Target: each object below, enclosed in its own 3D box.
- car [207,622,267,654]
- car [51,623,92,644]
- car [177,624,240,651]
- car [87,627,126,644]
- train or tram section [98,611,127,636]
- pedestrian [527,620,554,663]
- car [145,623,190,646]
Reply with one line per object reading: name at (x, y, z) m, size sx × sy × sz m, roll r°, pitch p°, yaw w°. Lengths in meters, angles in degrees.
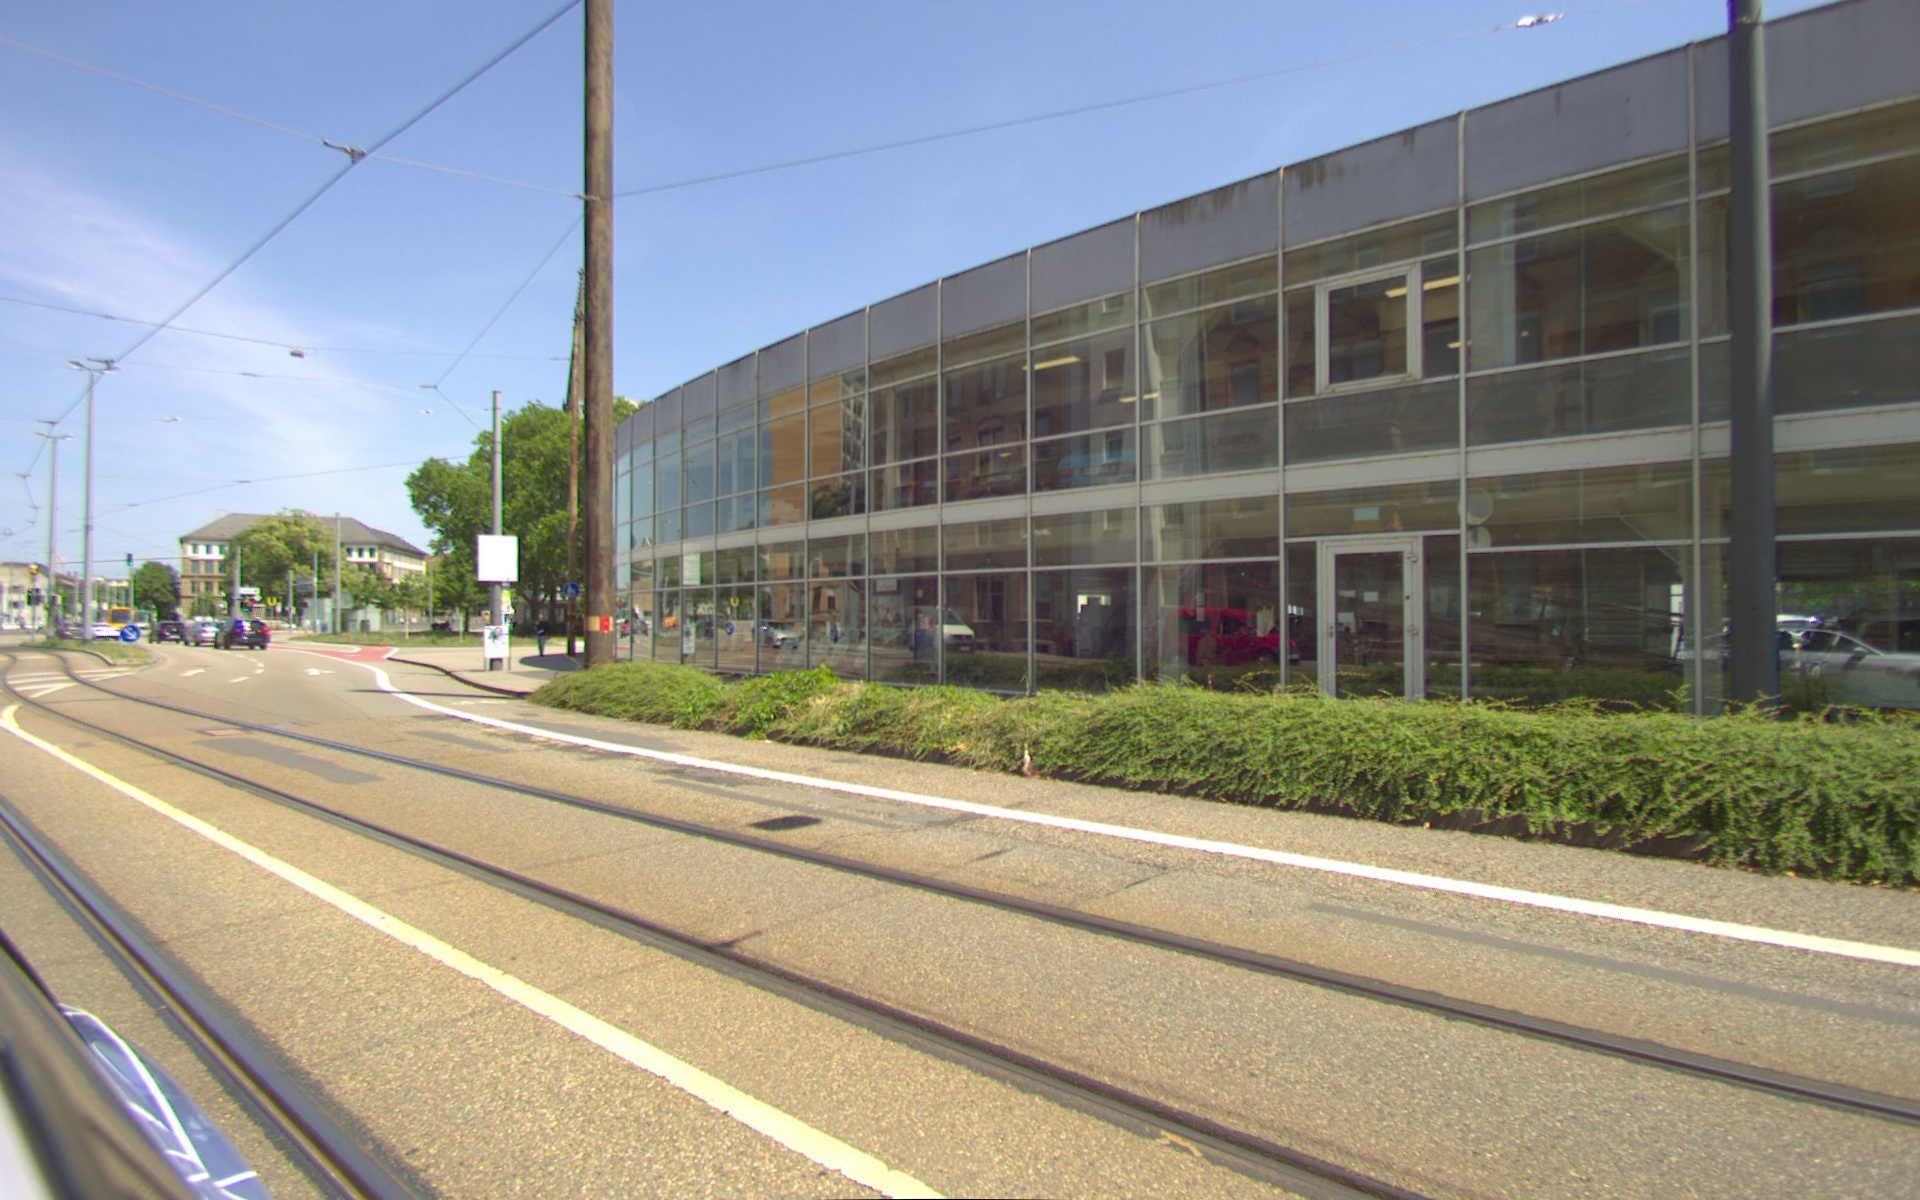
car at (-38.617, 2.017, 53.992) m, size 4.527 × 1.639 × 1.801 m, roll -1°, pitch -3°, yaw 44°
car at (-65.179, 2.486, 74.233) m, size 4.329 × 1.491 × 1.823 m, roll -2°, pitch -3°, yaw 43°
car at (-45.149, 2.259, 60.751) m, size 5.129 × 1.542 × 1.972 m, roll -1°, pitch -3°, yaw 42°
car at (-67.712, 2.798, 80.260) m, size 4.201 × 1.309 × 1.689 m, roll -1°, pitch -3°, yaw 41°
train or tram section at (-110.904, 3.096, 132.505) m, size 2.799 × 3.238 × 9.126 m, roll 1°, pitch -2°, yaw -39°
pedestrian at (-16.606, 1.642, 40.066) m, size 0.820 × 1.654 × 0.719 m, roll -2°, pitch -2°, yaw 45°
car at (-52.647, 2.272, 67.226) m, size 3.902 × 1.473 × 1.653 m, roll -1°, pitch -3°, yaw 41°
